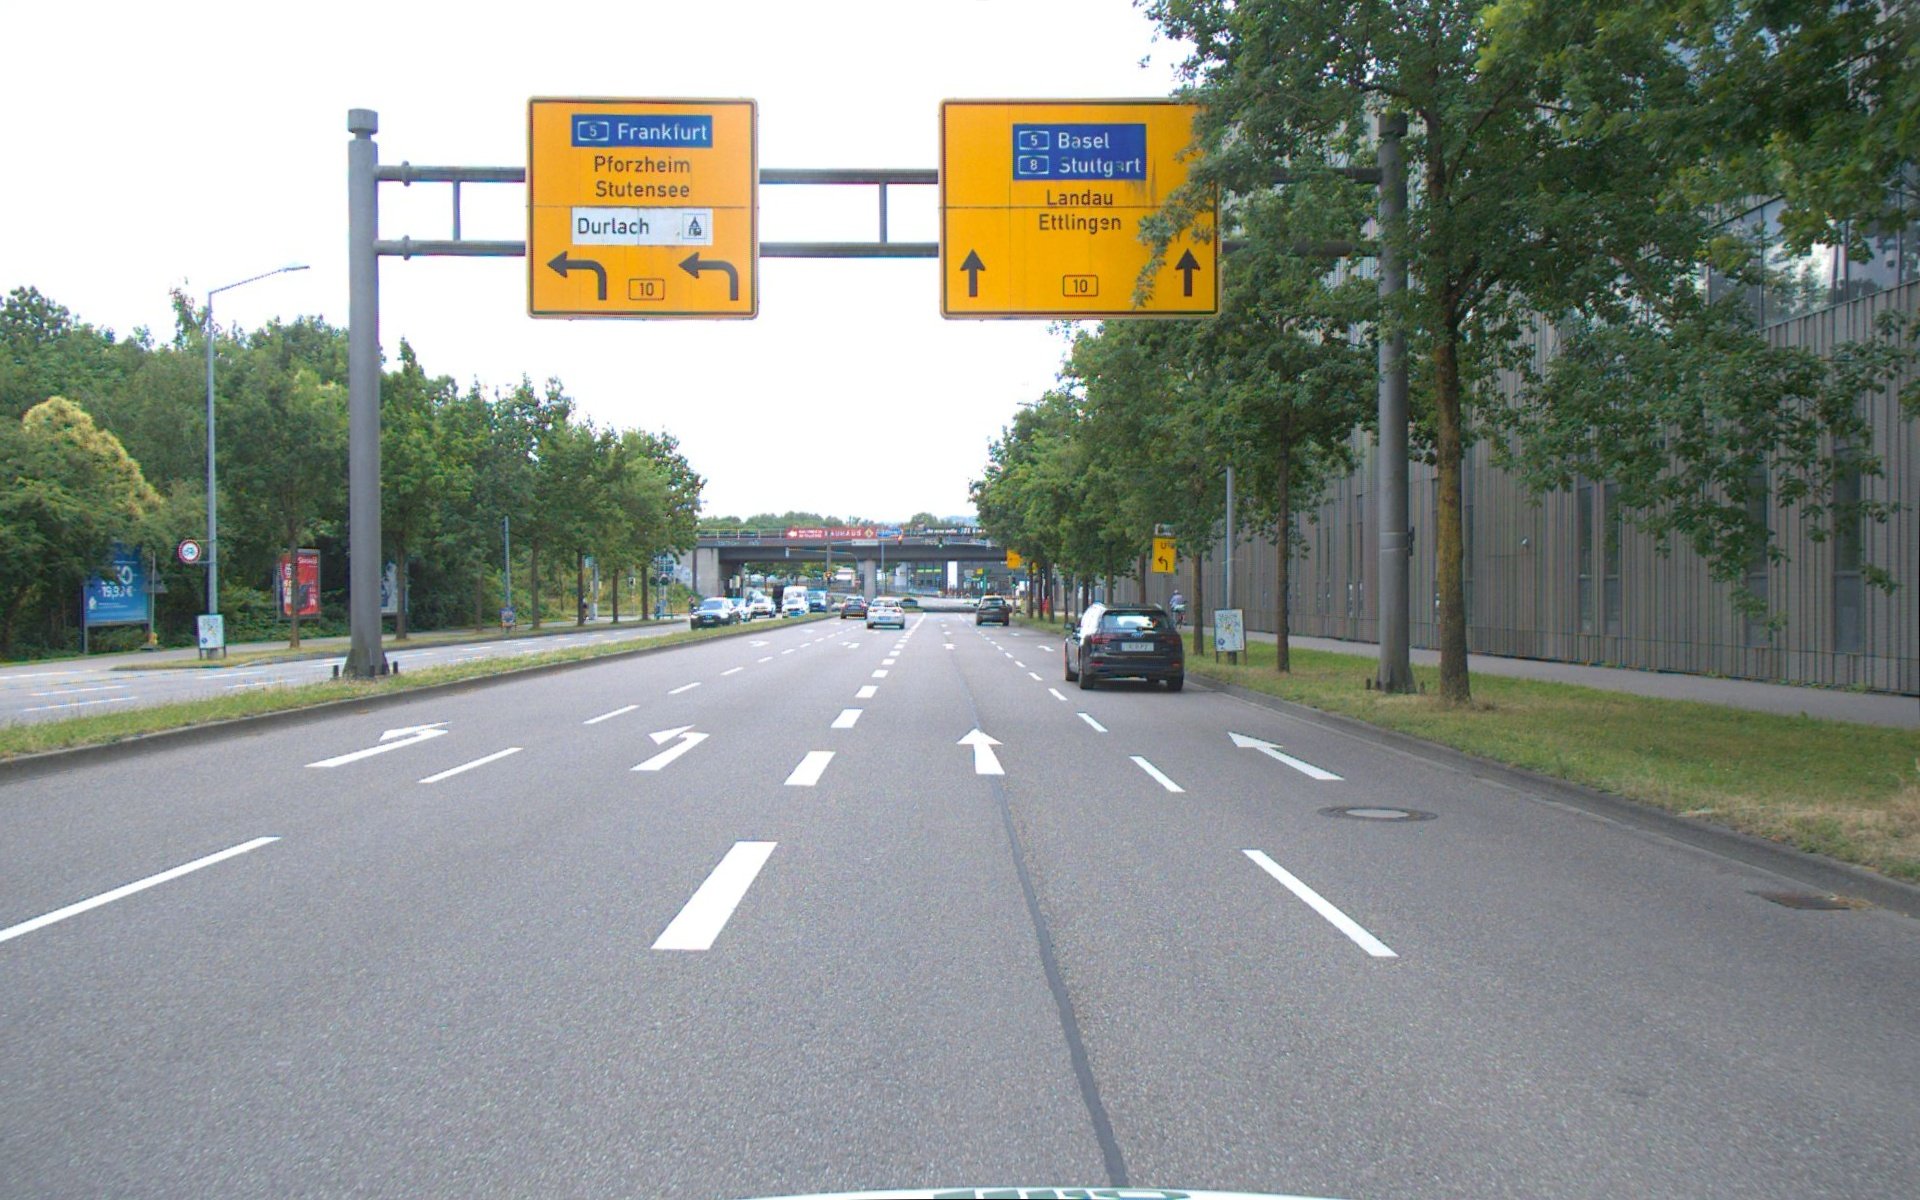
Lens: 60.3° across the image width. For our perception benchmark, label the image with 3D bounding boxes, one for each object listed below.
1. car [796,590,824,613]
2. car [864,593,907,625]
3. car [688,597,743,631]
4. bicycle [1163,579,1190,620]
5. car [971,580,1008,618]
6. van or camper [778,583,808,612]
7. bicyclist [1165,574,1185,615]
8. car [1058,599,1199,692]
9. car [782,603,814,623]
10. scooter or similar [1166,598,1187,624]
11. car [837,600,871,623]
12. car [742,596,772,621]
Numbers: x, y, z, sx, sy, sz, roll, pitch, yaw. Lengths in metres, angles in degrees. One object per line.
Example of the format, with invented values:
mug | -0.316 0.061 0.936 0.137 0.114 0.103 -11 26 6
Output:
car | -12.983 0.125 143.656 2.146 1.998 5.191 -1 0 -2
car | -3.555 0.406 79.246 1.876 1.439 4.294 3 0 -1
car | -11.514 0.647 78.219 1.919 1.543 4.908 -1 0 -1
bicycle | 9.803 -0.026 75.010 0.705 1.805 2.531 -1 0 -4
car | 1.658 -0.070 94.914 1.953 2.073 4.712 -1 0 0
van or camper | -15.759 -0.244 156.489 2.304 2.584 7.061 1 0 -2
bicyclist | 9.781 -0.249 75.252 0.701 1.800 0.987 -1 0 -5
car | 2.877 0.743 29.192 1.953 1.415 4.575 1 1 -1
car | -12.167 0.959 124.275 1.953 1.456 5.023 -1 0 0
scooter or similar | 10.797 0.558 82.558 0.690 1.268 2.479 -1 0 -1
car | -6.965 0.751 109.084 1.953 1.440 4.831 1 0 -1
car | -15.737 0.625 128.308 1.953 1.833 4.407 -1 0 -2
